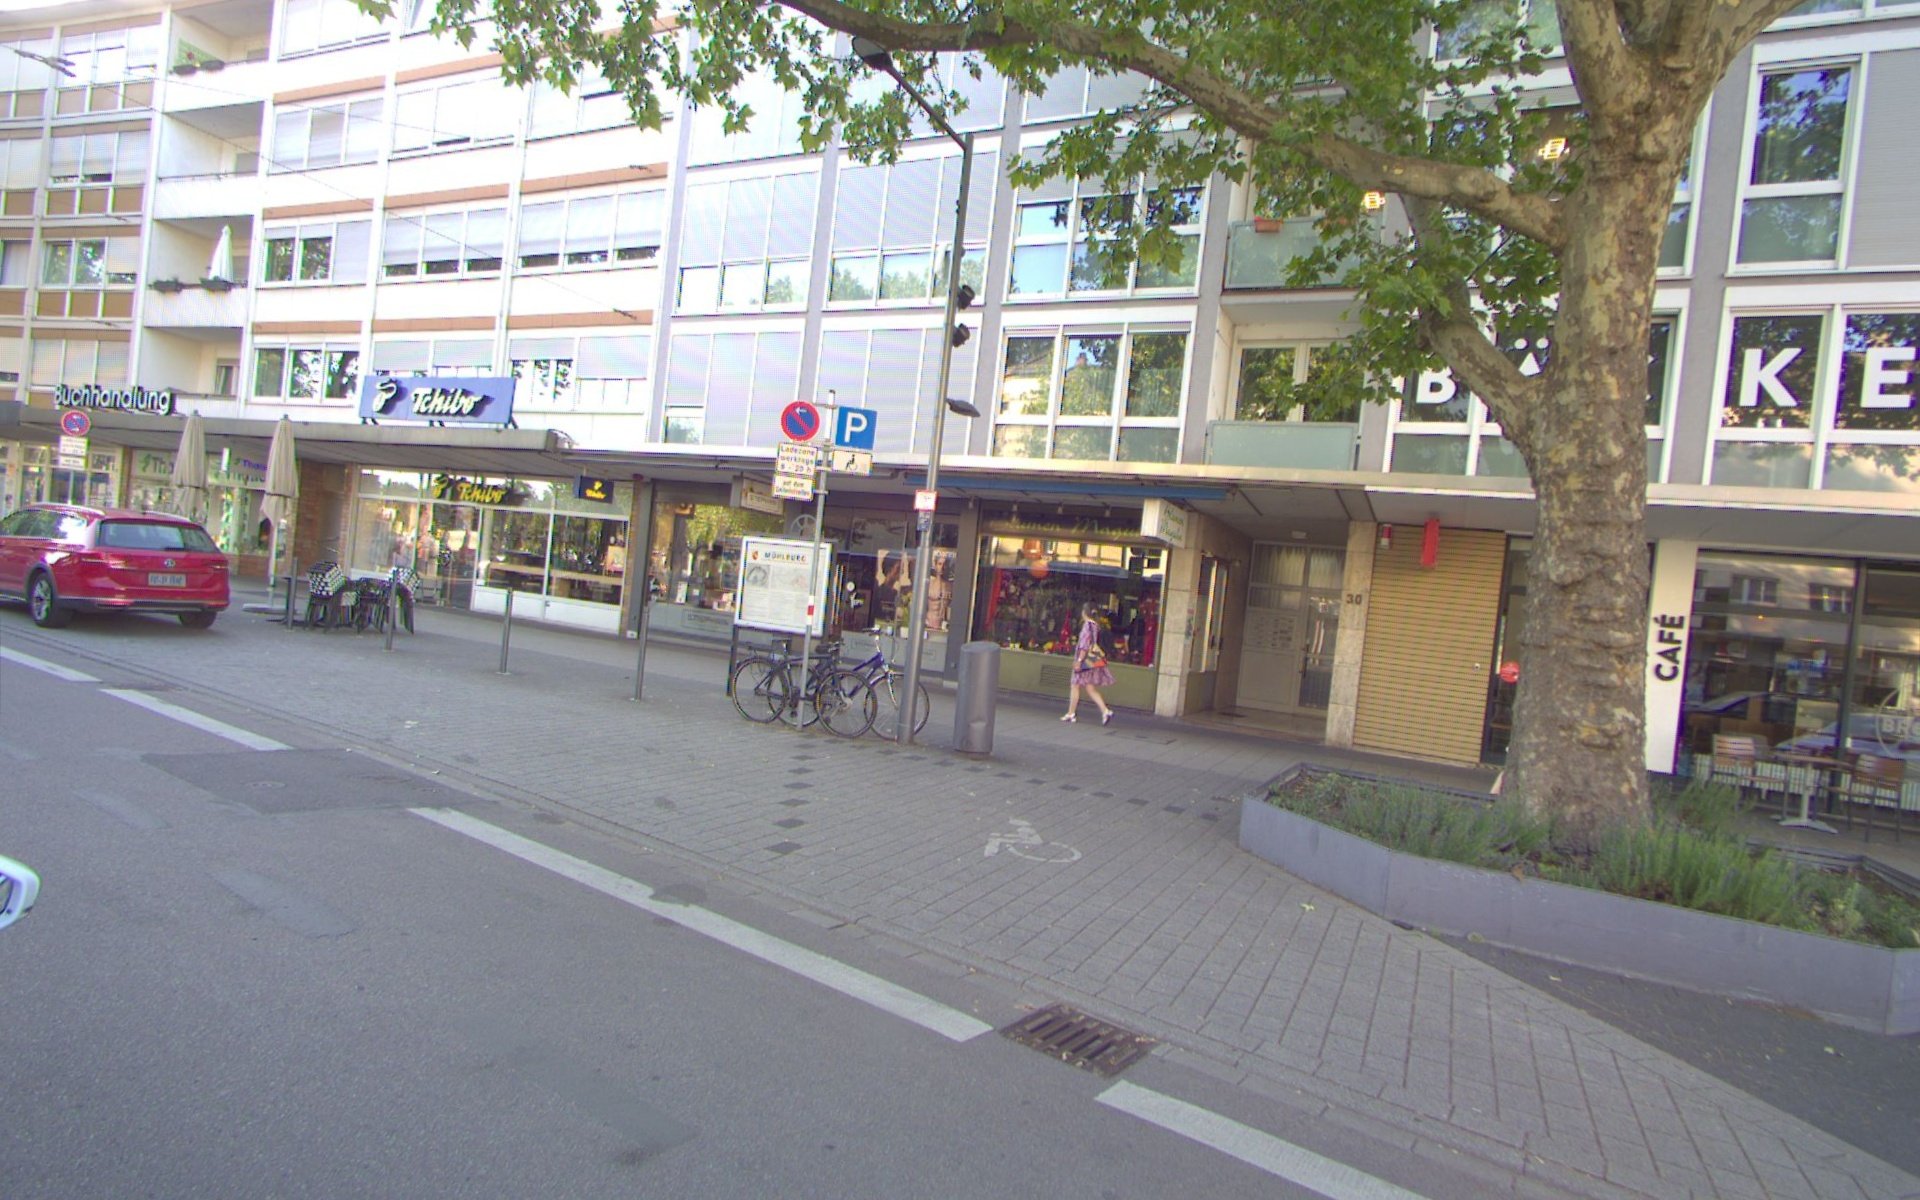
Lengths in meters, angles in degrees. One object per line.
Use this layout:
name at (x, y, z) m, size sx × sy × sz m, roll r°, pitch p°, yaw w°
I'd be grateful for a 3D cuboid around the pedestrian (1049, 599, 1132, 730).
pedestrian at (1.723, 0.831, 13.283) m, size 0.776 × 1.613 × 0.651 m, roll 7°, pitch 2°, yaw 26°

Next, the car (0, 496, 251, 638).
car at (-11.652, -0.495, 13.461) m, size 4.229 × 1.502 × 1.772 m, roll 6°, pitch 1°, yaw 28°

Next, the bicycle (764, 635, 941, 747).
bicycle at (-1.130, 0.939, 10.570) m, size 1.743 × 0.931 × 0.391 m, roll 6°, pitch 2°, yaw 12°

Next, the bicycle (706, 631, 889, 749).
bicycle at (-1.655, 0.896, 10.238) m, size 1.743 × 0.951 × 0.391 m, roll 6°, pitch 2°, yaw 12°

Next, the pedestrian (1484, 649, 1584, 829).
pedestrian at (5.496, 1.301, 9.667) m, size 0.631 × 1.596 × 0.560 m, roll 7°, pitch 1°, yaw 26°
